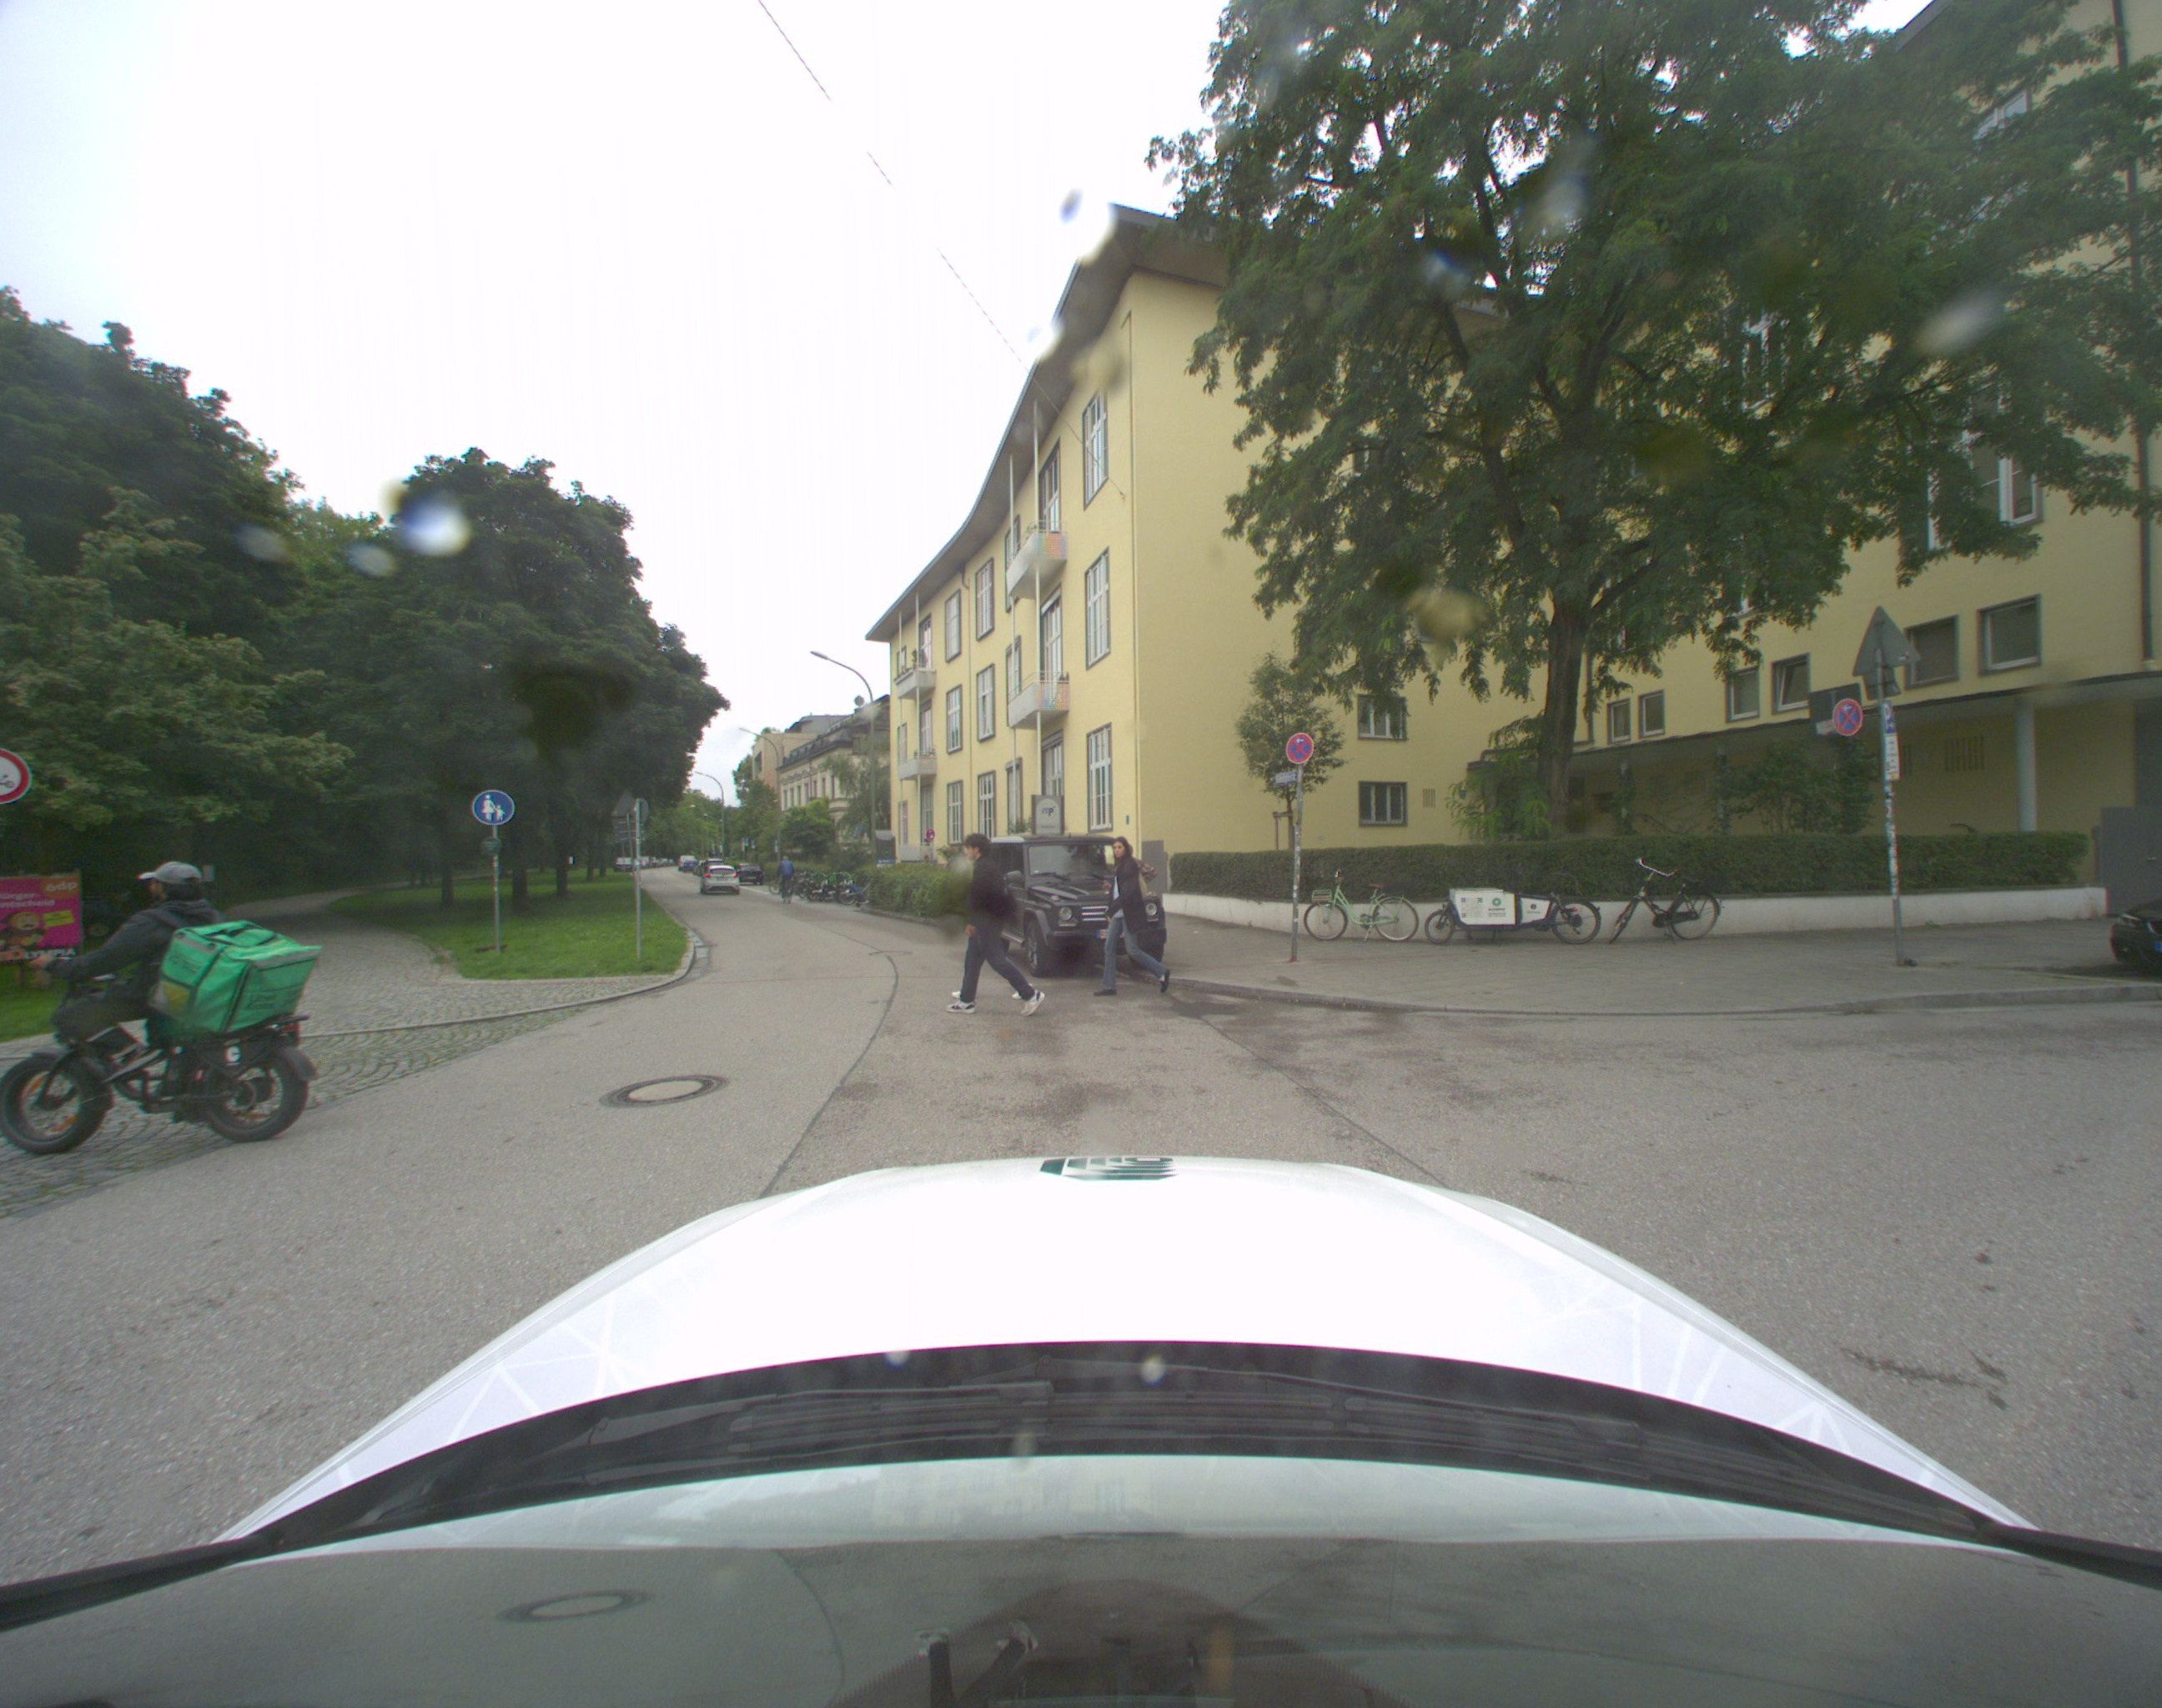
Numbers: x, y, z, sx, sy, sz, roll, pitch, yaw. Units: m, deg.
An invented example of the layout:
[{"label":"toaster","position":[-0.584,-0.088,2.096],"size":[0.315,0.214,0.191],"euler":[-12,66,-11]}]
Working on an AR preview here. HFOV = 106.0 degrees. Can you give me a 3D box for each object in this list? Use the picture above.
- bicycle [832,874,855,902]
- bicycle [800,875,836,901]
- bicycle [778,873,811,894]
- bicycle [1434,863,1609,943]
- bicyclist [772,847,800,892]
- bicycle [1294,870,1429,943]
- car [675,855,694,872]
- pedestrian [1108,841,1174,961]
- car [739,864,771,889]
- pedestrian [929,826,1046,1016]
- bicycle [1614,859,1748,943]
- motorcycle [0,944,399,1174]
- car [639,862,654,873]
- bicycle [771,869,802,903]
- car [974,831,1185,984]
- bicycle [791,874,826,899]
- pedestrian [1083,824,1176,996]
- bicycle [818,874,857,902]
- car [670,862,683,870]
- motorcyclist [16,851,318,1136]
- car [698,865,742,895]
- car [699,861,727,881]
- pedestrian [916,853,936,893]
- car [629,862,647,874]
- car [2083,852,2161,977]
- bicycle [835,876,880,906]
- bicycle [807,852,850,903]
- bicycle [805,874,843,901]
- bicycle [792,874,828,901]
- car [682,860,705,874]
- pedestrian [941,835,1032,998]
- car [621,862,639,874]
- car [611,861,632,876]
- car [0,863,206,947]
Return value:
[{"label":"bicycle","position":[-9.358,1.335,32.131],"size":[0.364,1.014,1.539],"euler":[-2,0,3]},{"label":"bicycle","position":[-11.069,1.429,34.312],"size":[0.404,1.014,1.547],"euler":[-2,0,31]},{"label":"bicycle","position":[-14.764,1.513,41.926],"size":[0.404,1.014,1.547],"euler":[-2,0,44]},{"label":"bicycle","position":[6.436,0.720,11.991],"size":[2.154,1.115,0.642],"euler":[-1,0,11]},{"label":"bicyclist","position":[-11.925,0.602,32.935],"size":[0.919,1.764,1.205],"euler":[-1,0,-26]},{"label":"bicycle","position":[4.457,0.841,13.041],"size":[1.924,1.085,0.532],"euler":[-4,-2,37]},{"label":"car","position":[-50.031,1.175,102.642],"size":[2.077,1.966,4.933],"euler":[-1,0,-27]},{"label":"pedestrian","position":[0.901,0.692,12.529],"size":[0.846,1.757,0.952],"euler":[-2,0,-4]},{"label":"car","position":[-21.963,1.487,54.791],"size":[1.656,1.558,3.527],"euler":[-1,0,-28]},{"label":"pedestrian","position":[-0.920,0.655,8.172],"size":[0.984,1.809,0.661],"euler":[-2,-1,7]},{"label":"bicycle","position":[8.639,0.657,11.731],"size":[1.680,1.130,0.459],"euler":[-1,0,-7]},{"label":"motorcycle","position":[-5.301,1.143,4.730],"size":[1.968,1.098,0.717],"euler":[-1,0,-5]},{"label":"car","position":[-70.873,2.187,132.884],"size":[2.003,1.600,4.430],"euler":[-1,0,-25]},{"label":"bicycle","position":[-11.860,1.256,32.804],"size":[0.925,1.252,2.302],"euler":[-1,0,-26]},{"label":"car","position":[-0.259,0.673,12.661],"size":[1.879,1.887,4.589],"euler":[-1,0,-19]},{"label":"bicycle","position":[-12.131,1.435,36.290],"size":[0.404,1.014,1.547],"euler":[-2,0,31]},{"label":"pedestrian","position":[0.541,0.616,9.375],"size":[0.850,1.857,0.764],"euler":[-2,-1,-9]},{"label":"bicycle","position":[-9.884,1.371,33.150],"size":[0.362,1.014,1.547],"euler":[-2,0,40]},{"label":"car","position":[-86.367,2.508,173.938],"size":[2.001,1.600,4.435],"euler":[-1,0,-21]},{"label":"motorcyclist","position":[-5.243,0.743,4.736],"size":[0.894,1.501,0.713],"euler":[-1,0,-5]},{"label":"car","position":[-18.317,1.267,41.241],"size":[1.757,1.406,3.693],"euler":[-1,0,-28]},{"label":"car","position":[-32.353,1.484,71.506],"size":[1.804,1.680,3.961],"euler":[-1,0,-31]},{"label":"pedestrian","position":[-6.804,0.825,35.747],"size":[0.634,1.684,0.692],"euler":[-2,0,-26]},{"label":"car","position":[-65.288,2.068,119.988],"size":[2.004,1.600,4.430],"euler":[-1,0,-25]},{"label":"car","position":[13.941,0.595,8.831],"size":[4.311,1.367,1.659],"euler":[-1,-3,-4]},{"label":"bicycle","position":[-8.355,1.373,30.487],"size":[1.543,1.014,0.363],"euler":[-2,0,-32]},{"label":"bicycle","position":[-10.333,0.938,33.385],"size":[0.451,2.013,1.688],"euler":[-2,0,35]},{"label":"bicycle","position":[-10.705,1.372,33.917],"size":[0.404,1.014,1.548],"euler":[-2,0,35]},{"label":"bicycle","position":[-11.491,1.416,34.578],"size":[0.404,1.014,1.547],"euler":[-2,0,31]},{"label":"car","position":[-45.129,1.495,94.740],"size":[2.006,1.600,4.213],"euler":[-1,0,-30]},{"label":"pedestrian","position":[-1.041,0.677,9.139],"size":[0.822,1.746,0.742],"euler":[-1,0,5]},{"label":"car","position":[-58.919,1.823,106.356],"size":[2.006,1.600,4.425],"euler":[-1,0,-30]},{"label":"car","position":[-51.687,1.665,91.584],"size":[2.006,1.600,4.425],"euler":[-1,0,-30]},{"label":"car","position":[-27.230,1.341,22.325],"size":[1.765,2.013,4.024],"euler":[-2,0,26]}]
